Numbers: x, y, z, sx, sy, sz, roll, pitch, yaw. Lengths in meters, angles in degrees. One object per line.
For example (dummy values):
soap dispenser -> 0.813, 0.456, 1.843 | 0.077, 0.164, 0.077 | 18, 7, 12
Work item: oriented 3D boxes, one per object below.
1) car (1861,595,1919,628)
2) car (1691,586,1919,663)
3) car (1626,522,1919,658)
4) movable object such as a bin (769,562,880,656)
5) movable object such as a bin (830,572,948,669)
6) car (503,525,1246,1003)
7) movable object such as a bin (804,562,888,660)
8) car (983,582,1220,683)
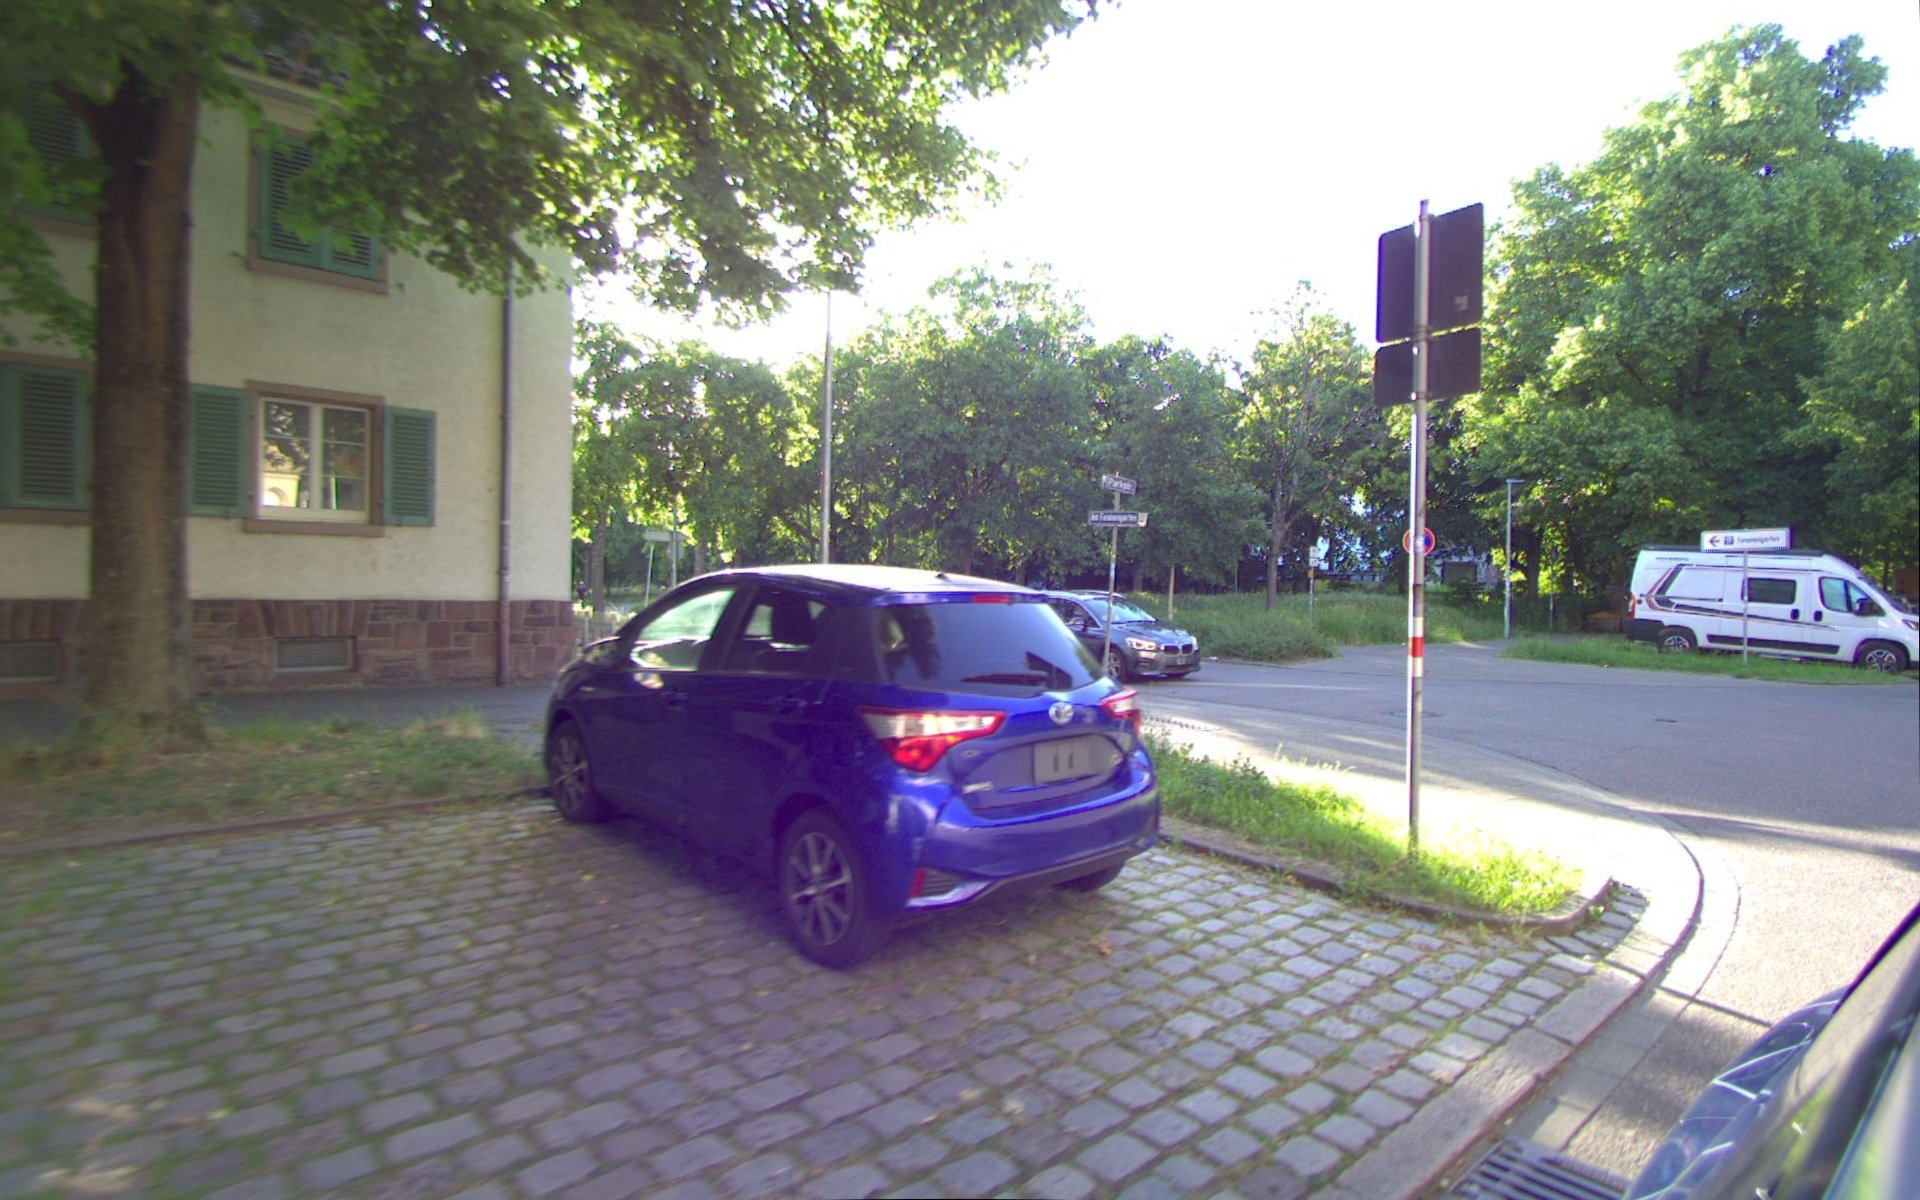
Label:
car -> 39.284, 0.463, 41.099 | 1.755, 1.272, 3.874 | -1, 2, -42
car -> 19.974, 0.502, 23.738 | 1.945, 1.594, 4.292 | -1, 2, -42
car -> 18.031, -0.252, 21.954 | 2.201, 2.646, 5.621 | -1, 2, -42
movable object such as a bin -> -2.850, 0.146, 21.284 | 1.890, 1.876, 1.394 | -1, 1, -34
movable object such as a bin -> -1.321, 0.327, 18.669 | 1.561, 1.678, 1.640 | -1, 2, -34
car -> -0.759, 0.433, 5.461 | 1.967, 1.574, 3.993 | -1, 3, -43
movable object such as a bin -> -2.254, 0.186, 19.921 | 1.129, 1.850, 1.387 | -1, 1, -34
car -> 2.555, 0.497, 19.389 | 1.855, 1.642, 4.619 | -1, 2, -35
